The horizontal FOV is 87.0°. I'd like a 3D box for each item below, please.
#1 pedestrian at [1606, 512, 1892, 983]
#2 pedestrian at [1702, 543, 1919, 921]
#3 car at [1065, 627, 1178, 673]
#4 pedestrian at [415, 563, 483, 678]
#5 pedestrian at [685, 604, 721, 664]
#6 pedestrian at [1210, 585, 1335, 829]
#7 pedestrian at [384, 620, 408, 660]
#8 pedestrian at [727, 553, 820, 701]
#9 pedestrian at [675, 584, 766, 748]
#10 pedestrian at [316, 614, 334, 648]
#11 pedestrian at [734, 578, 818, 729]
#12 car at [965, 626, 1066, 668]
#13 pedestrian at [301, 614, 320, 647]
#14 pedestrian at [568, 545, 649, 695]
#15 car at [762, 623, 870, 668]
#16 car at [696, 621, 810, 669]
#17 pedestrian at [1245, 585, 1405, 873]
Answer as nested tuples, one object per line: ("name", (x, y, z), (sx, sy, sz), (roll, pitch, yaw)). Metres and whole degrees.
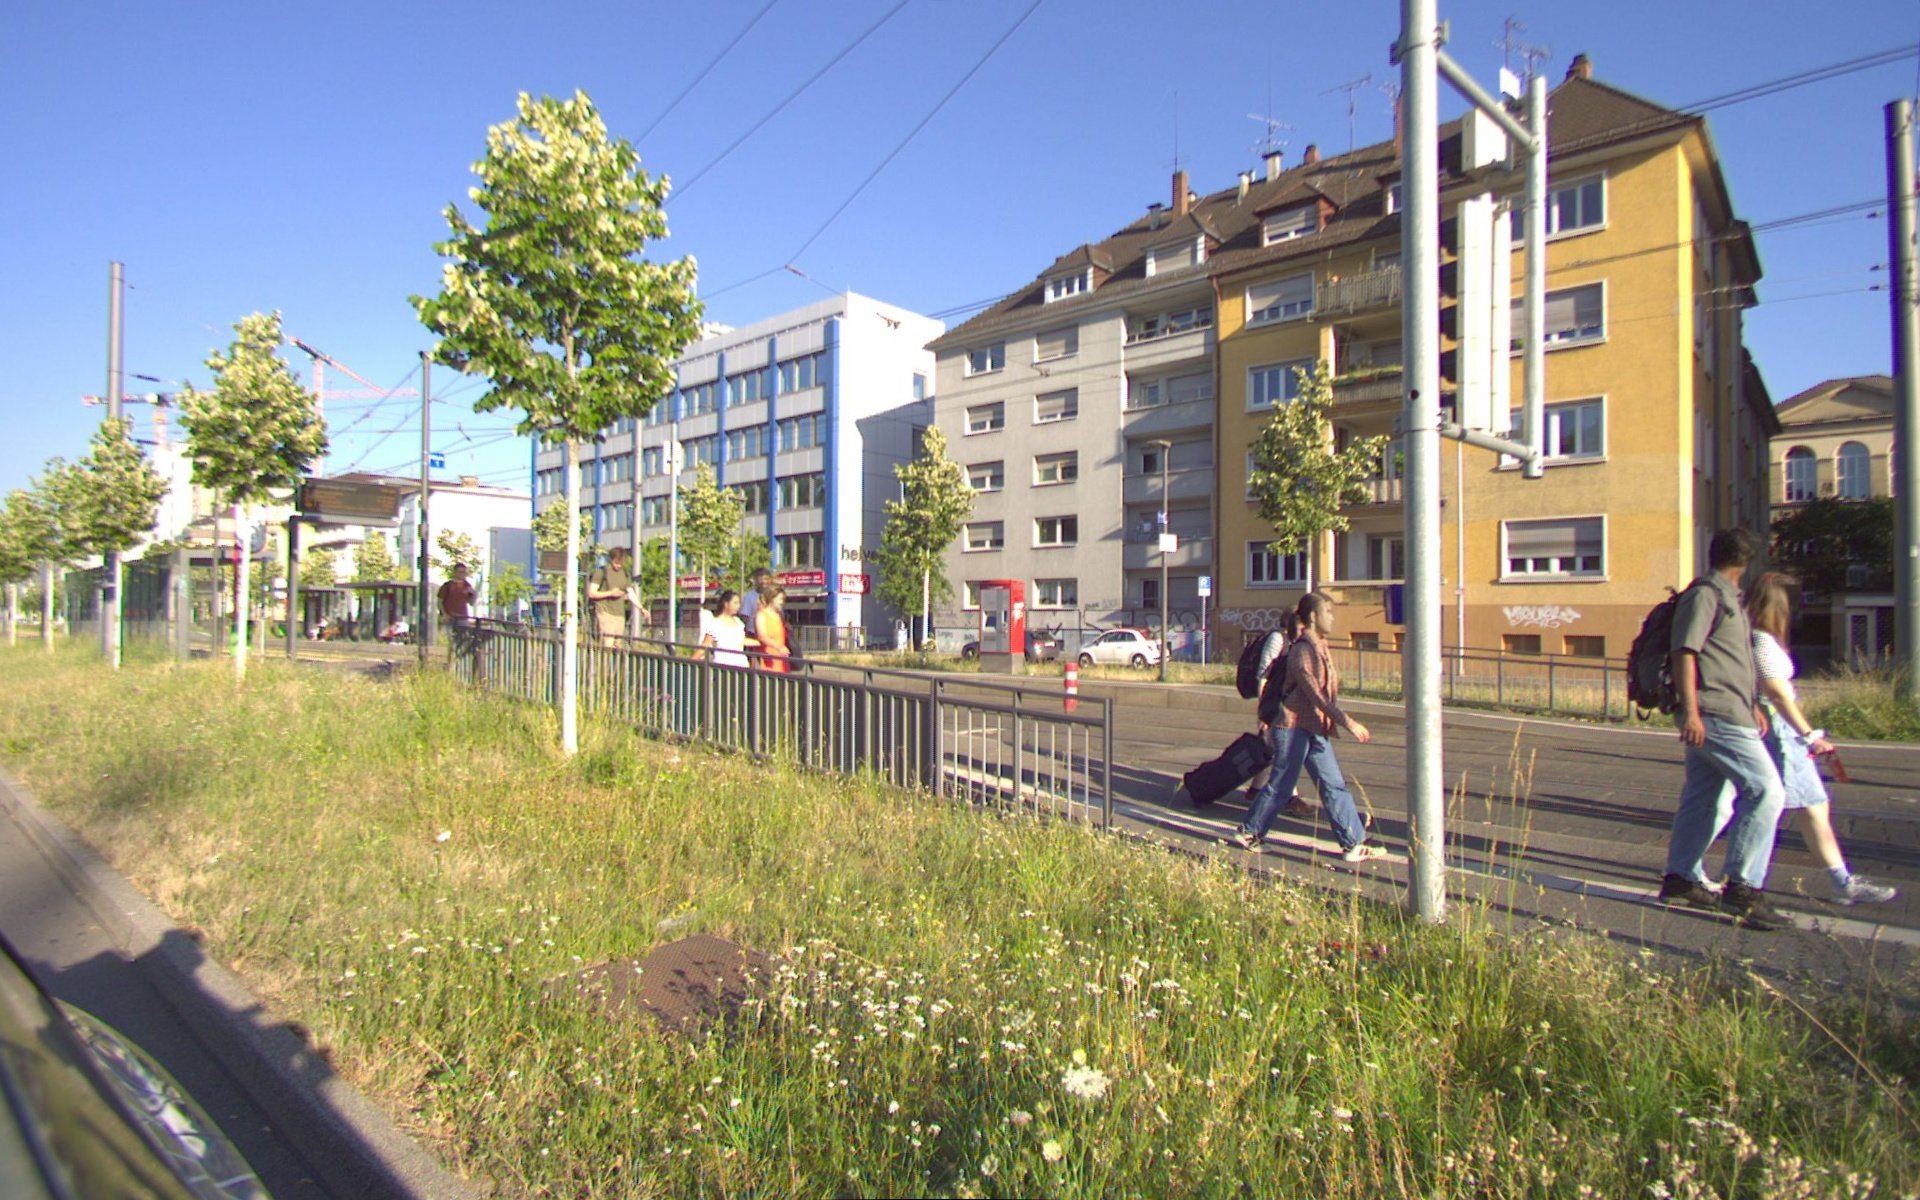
("pedestrian", (3.481, 0.558, 4.486), (0.900, 1.814, 0.777), (2, 1, 42))
("pedestrian", (4.197, 0.577, 4.922), (0.899, 1.653, 0.778), (-1, 0, 39))
("car", (5.936, 1.809, 37.364), (3.672, 1.519, 1.861), (-1, 0, 41))
("pedestrian", (-7.874, 0.305, 15.597), (0.620, 1.711, 0.776), (-1, 0, 44))
("pedestrian", (-7.344, 0.963, 28.886), (0.620, 1.685, 0.776), (-1, 0, 44))
("pedestrian", (2.283, 0.727, 7.368), (0.619, 1.653, 0.778), (-1, -1, 39))
("pedestrian", (-24.574, 1.734, 44.104), (0.771, 1.705, 0.651), (-1, 0, 39))
("pedestrian", (-2.053, 0.285, 11.156), (0.620, 1.560, 0.776), (-1, 0, 44))
("pedestrian", (-2.241, 0.591, 9.467), (0.524, 1.467, 0.630), (-1, 0, 40))
("pedestrian", (-31.904, 1.552, 50.841), (0.650, 1.705, 0.773), (-1, 0, -43))
("pedestrian", (-1.824, 0.512, 10.058), (0.524, 1.442, 0.630), (-1, 0, 37))
("car", (2.207, 1.858, 40.484), (3.672, 1.519, 1.861), (-1, 0, 41))
("pedestrian", (-33.613, 1.574, 52.387), (0.772, 1.705, 0.651), (-1, 0, 44))
("pedestrian", (-4.573, 0.246, 13.171), (0.620, 1.878, 0.776), (-1, 0, 44))
("car", (-5.375, 1.633, 37.544), (3.941, 1.519, 1.861), (-1, 0, 41))
("car", (-7.221, 1.516, 35.141), (3.941, 1.519, 1.861), (-1, 0, 41))
("pedestrian", (2.147, 0.695, 5.940), (0.619, 1.547, 0.777), (-1, 0, 42))
